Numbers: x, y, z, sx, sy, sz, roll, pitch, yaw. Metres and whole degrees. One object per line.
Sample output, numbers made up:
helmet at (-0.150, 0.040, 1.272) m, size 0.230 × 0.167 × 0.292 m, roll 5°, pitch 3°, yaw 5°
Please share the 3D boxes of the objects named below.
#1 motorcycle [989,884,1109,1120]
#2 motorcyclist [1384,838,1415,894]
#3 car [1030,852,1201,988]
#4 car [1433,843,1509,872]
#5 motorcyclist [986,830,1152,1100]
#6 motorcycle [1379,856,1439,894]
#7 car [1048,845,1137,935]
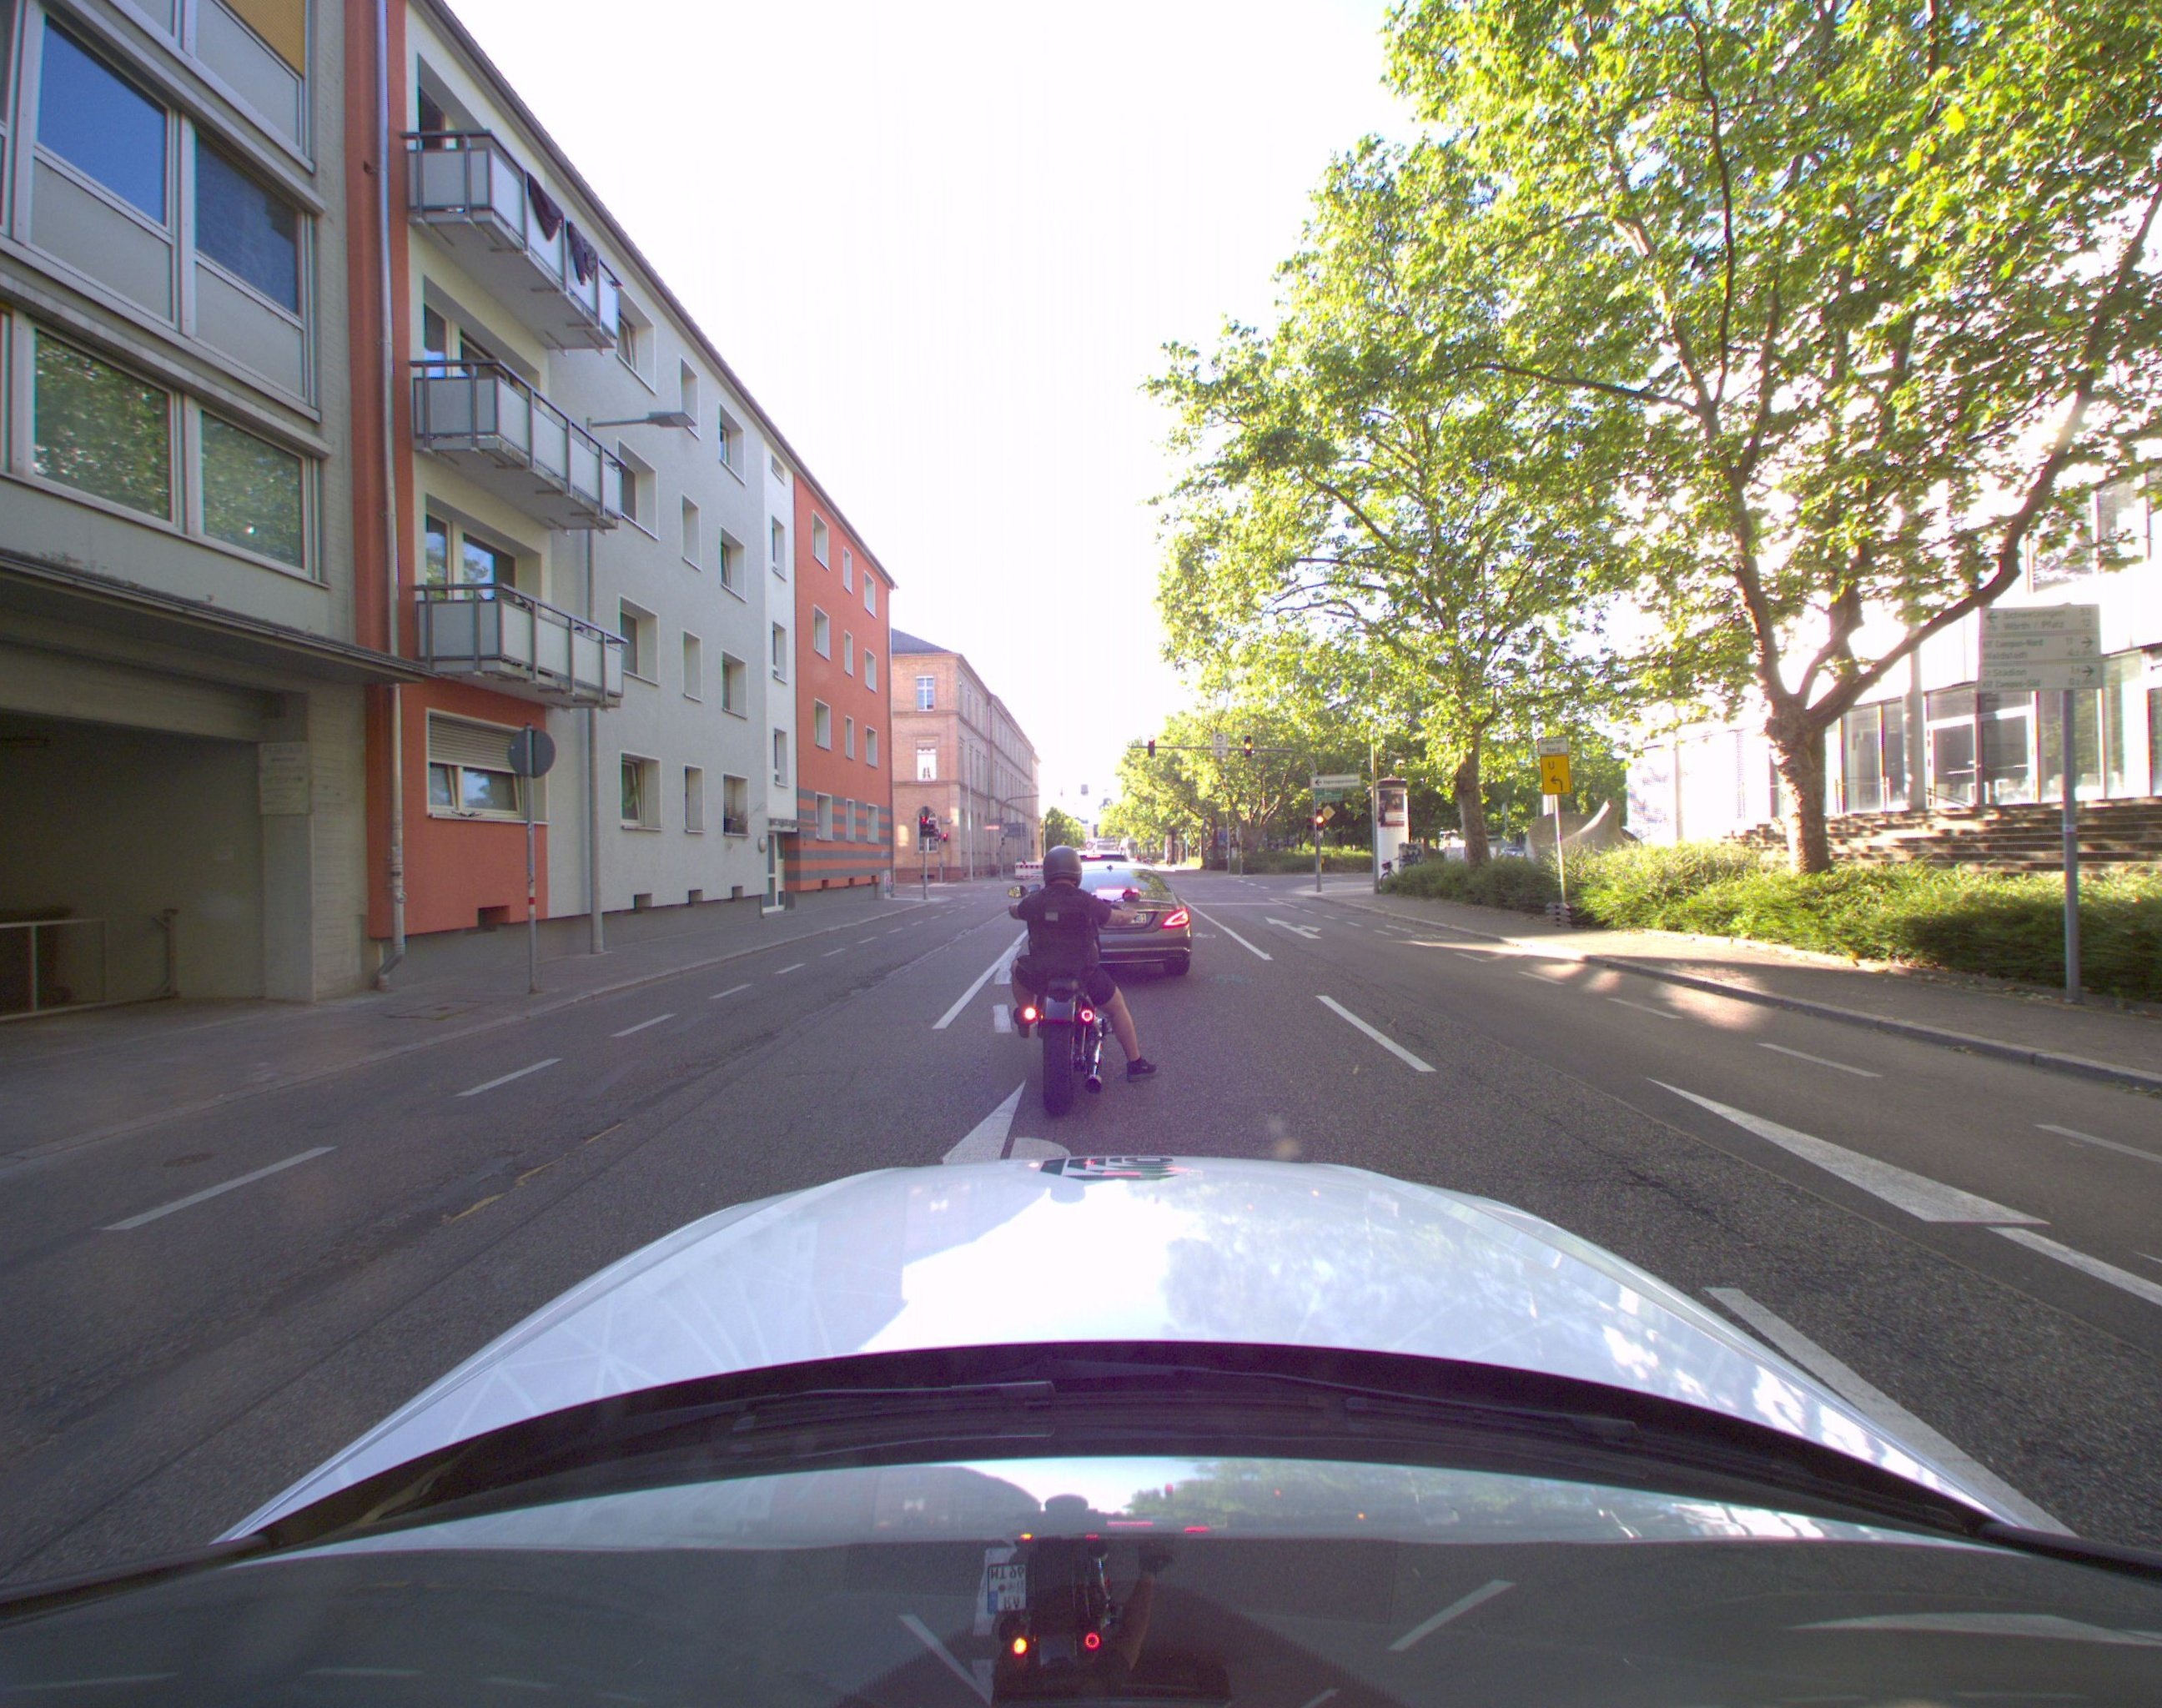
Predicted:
motorcycle at (-0.143, 0.857, 5.539) m, size 0.657 × 1.240 × 2.058 m, roll 0°, pitch -1°, yaw 2°
motorcyclist at (10.767, 0.395, 27.566) m, size 0.818 × 1.863 × 0.673 m, roll 0°, pitch -1°, yaw 7°
car at (0.260, 0.745, 11.242) m, size 1.821 × 1.486 × 4.325 m, roll 0°, pitch -1°, yaw -5°
car at (24.631, 0.211, 51.520) m, size 3.974 × 1.772 × 1.738 m, roll -1°, pitch 0°, yaw -1°
motorcyclist at (-0.055, 0.670, 5.446) m, size 0.986 × 1.611 × 1.121 m, roll 0°, pitch -1°, yaw 1°
motorcycle at (11.071, 0.714, 27.542) m, size 1.771 × 1.243 × 0.724 m, roll 0°, pitch -1°, yaw 7°
car at (0.285, 0.689, 17.093) m, size 1.645 × 1.652 × 4.002 m, roll 0°, pitch -1°, yaw 2°
